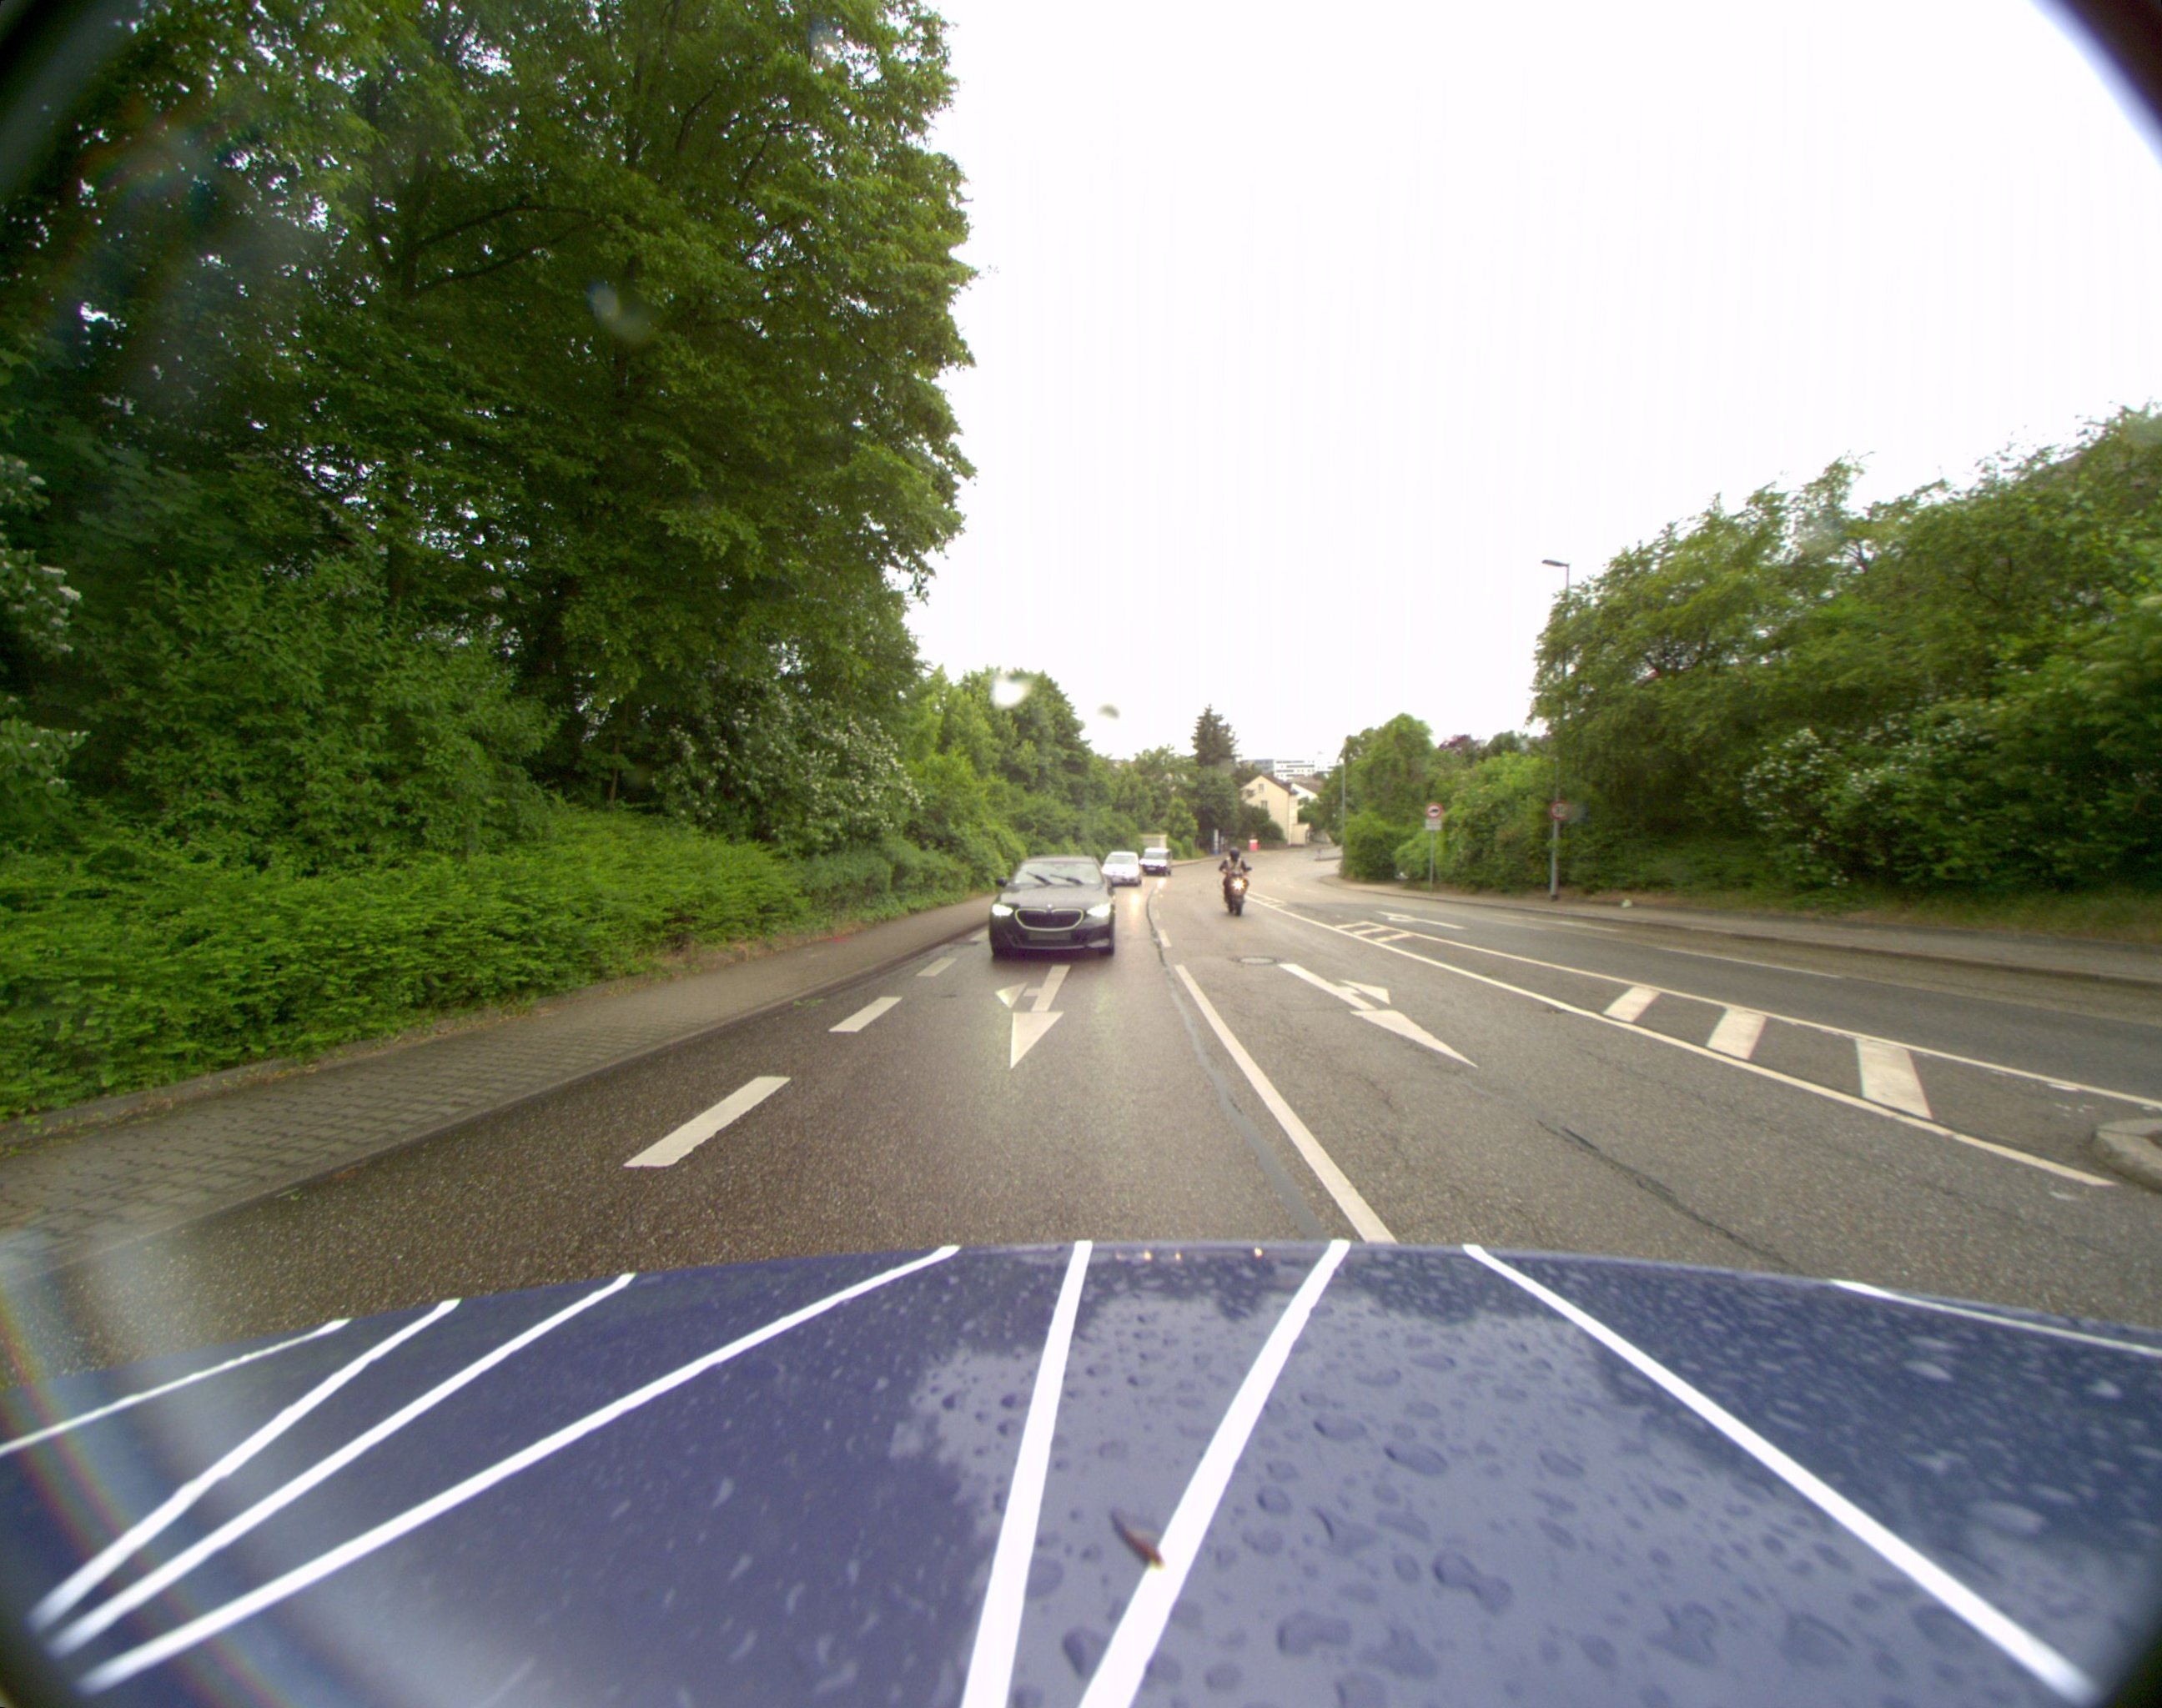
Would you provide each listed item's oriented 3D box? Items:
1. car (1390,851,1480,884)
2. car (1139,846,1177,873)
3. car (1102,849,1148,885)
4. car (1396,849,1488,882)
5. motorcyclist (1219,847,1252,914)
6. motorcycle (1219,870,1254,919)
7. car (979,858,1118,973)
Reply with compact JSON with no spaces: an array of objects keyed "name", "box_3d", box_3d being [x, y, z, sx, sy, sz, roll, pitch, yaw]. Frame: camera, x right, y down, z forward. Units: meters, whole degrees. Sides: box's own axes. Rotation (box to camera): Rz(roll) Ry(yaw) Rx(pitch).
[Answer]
[{"name":"car","box_3d":[19.442,0.711,41.875,3.995,1.527,2.001,-4,0,8]},{"name":"car","box_3d":[5.204,0.359,51.188,1.775,1.764,4.005,1,0,17]},{"name":"car","box_3d":[2.118,0.544,35.407,1.816,1.431,4.001,3,2,7]},{"name":"car","box_3d":[18.535,0.592,39.163,3.908,1.432,1.812,-4,0,9]},{"name":"motorcyclist","box_3d":[3.858,0.642,19.032,0.766,1.633,0.674,0,2,7]},{"name":"motorcycle","box_3d":[3.832,0.974,18.797,0.692,1.047,1.747,1,2,7]},{"name":"car","box_3d":[-0.359,0.865,12.701,1.872,1.497,4.198,1,1,3]}]
